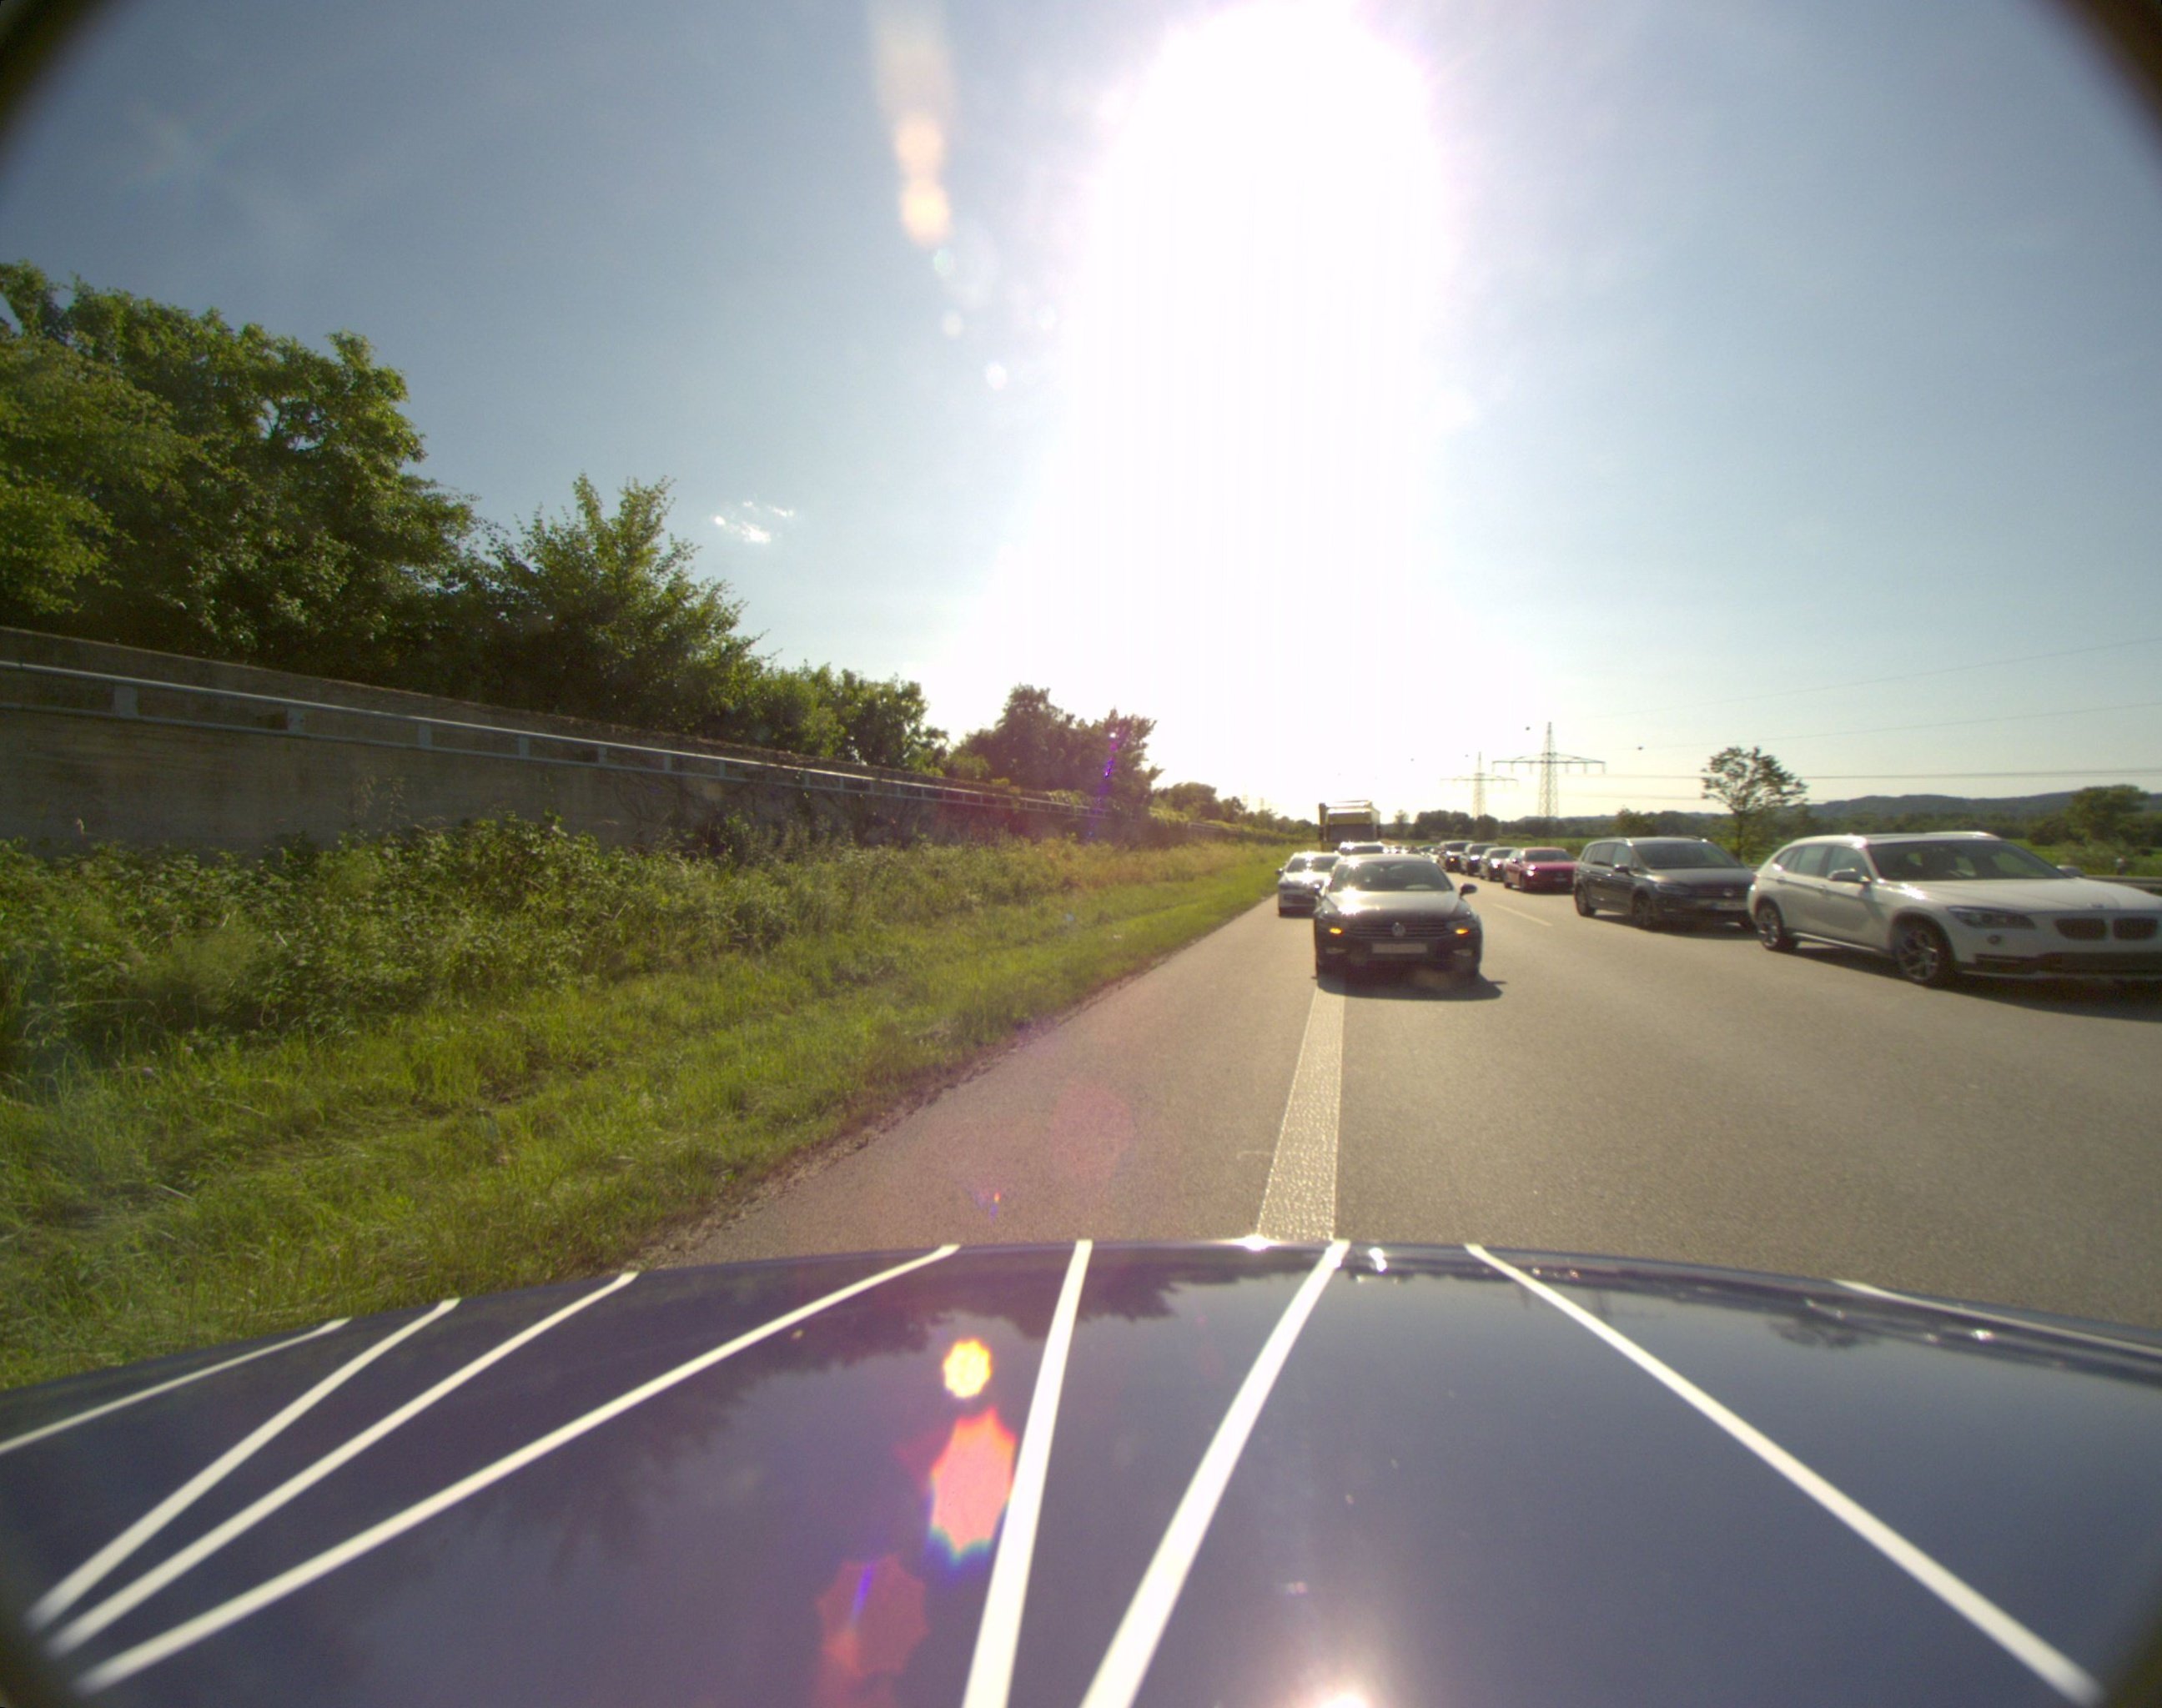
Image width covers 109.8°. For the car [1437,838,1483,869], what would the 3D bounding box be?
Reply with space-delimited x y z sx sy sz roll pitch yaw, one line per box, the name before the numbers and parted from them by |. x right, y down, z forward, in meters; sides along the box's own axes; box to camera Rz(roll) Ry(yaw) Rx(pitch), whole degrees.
car | 22.552 -0.045 45.347 1.899 1.778 4.205 0 1 18

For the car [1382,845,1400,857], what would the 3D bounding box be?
car | 40.071 -0.422 98.281 1.817 1.450 4.123 -2 0 19

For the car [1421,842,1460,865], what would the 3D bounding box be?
car | 24.657 -0.074 52.218 1.996 1.522 4.005 0 1 18

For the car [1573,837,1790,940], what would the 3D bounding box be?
car | 10.747 0.534 14.007 1.817 1.607 4.122 -2 0 18

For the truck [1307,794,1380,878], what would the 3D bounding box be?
truck | 14.254 -0.944 41.092 3.328 4.089 6.979 -2 1 21

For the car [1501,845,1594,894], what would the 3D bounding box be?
car | 15.193 0.433 24.943 1.817 1.450 4.123 0 1 20

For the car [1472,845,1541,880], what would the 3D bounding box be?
car | 18.422 0.320 33.049 1.892 1.390 4.005 0 1 18

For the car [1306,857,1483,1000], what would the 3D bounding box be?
car | 4.025 0.799 10.148 1.714 1.405 4.331 -2 0 19

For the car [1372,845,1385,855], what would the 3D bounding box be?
car | 48.177 -0.667 123.043 1.817 1.450 4.123 0 1 20

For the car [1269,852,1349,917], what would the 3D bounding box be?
car | 5.879 0.698 19.312 1.714 1.417 4.331 -2 0 19

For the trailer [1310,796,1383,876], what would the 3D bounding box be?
trailer | 16.602 -1.087 46.741 3.382 4.089 13.972 -2 1 22

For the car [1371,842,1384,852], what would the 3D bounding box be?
car | 51.401 -1.250 131.815 1.810 1.783 3.778 0 1 19

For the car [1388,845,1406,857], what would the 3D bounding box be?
car | 37.517 -0.383 90.237 1.817 1.450 4.123 0 1 20

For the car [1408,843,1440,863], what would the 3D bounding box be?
car | 27.531 -0.111 61.070 1.996 1.522 4.005 0 1 18

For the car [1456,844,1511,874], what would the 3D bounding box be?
car | 20.486 0.208 38.787 1.891 1.447 4.005 0 1 19

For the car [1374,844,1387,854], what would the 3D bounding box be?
car | 46.348 -0.772 117.691 1.817 1.450 4.123 -2 0 20

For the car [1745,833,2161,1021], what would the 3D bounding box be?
car | 9.491 0.589 8.390 1.830 1.565 4.169 -1 1 19

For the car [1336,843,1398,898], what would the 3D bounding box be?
car | 9.317 0.471 24.972 1.714 1.614 4.331 -2 0 19
